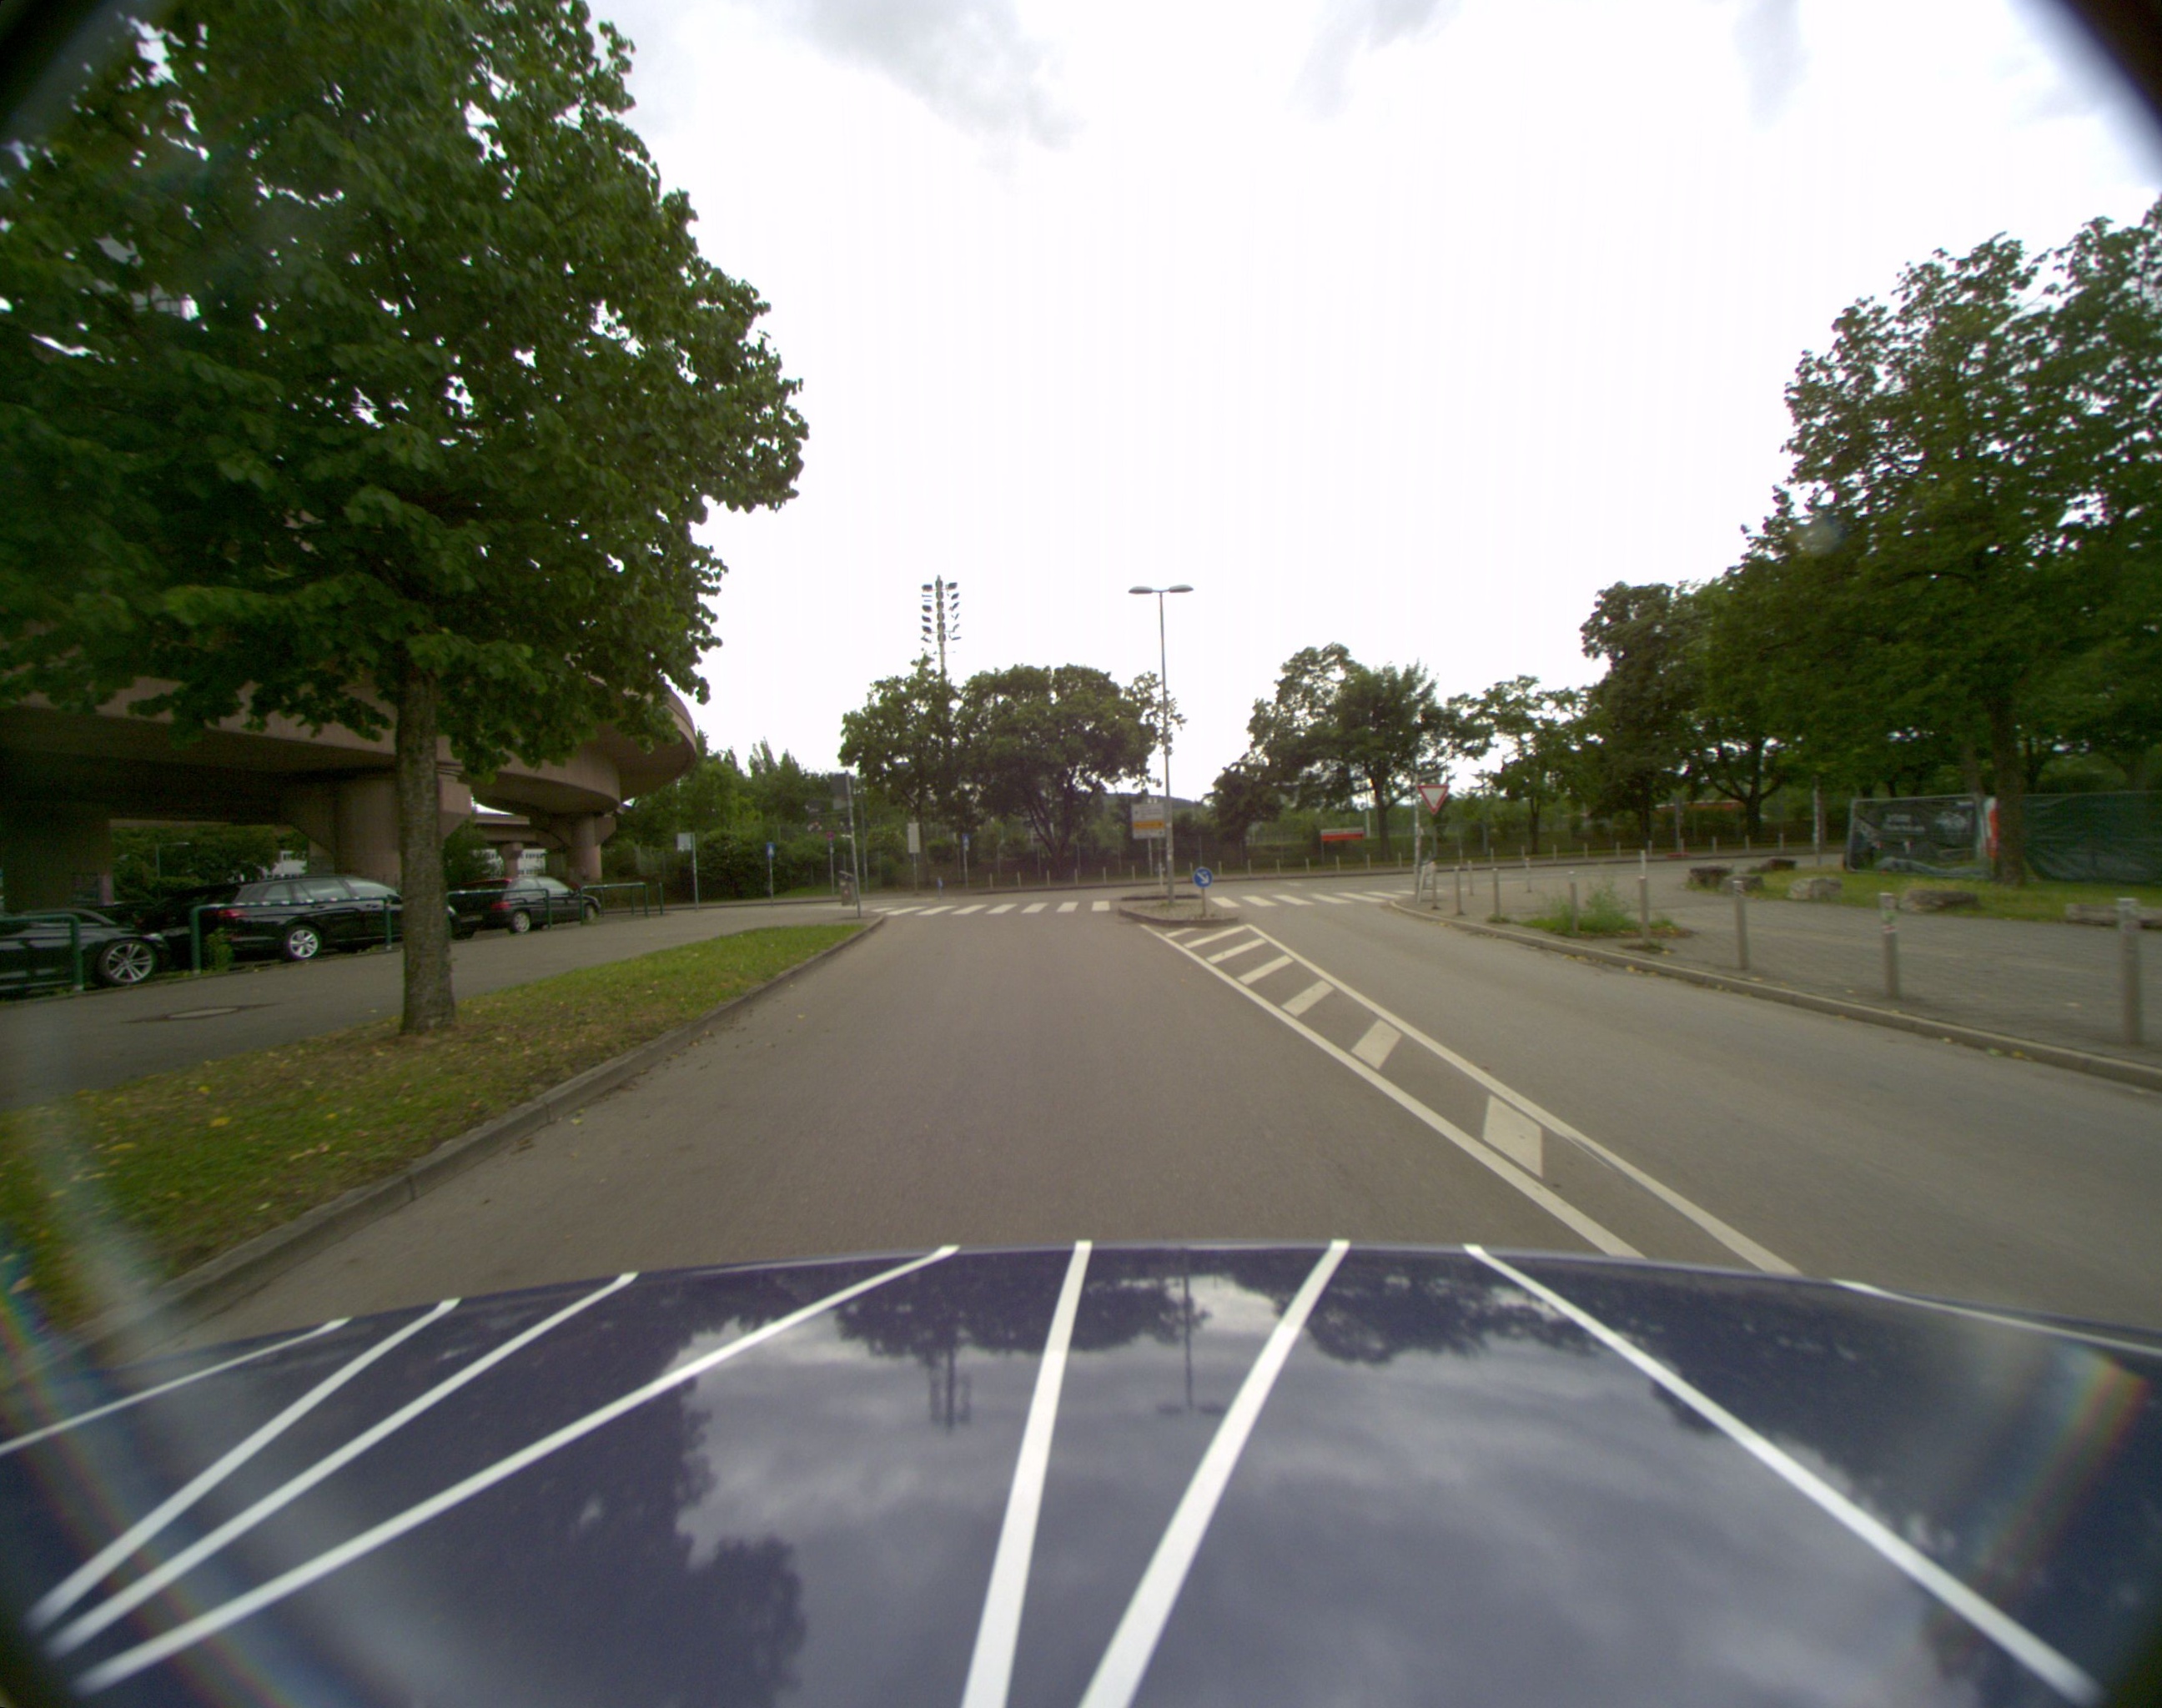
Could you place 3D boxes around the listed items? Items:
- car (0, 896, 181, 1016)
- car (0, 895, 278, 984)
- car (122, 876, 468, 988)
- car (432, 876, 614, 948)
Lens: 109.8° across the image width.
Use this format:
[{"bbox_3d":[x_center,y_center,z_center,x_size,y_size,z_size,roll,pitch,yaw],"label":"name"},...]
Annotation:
[{"bbox_3d":[-13.458,1.277,8.378,1.771,1.314,4.374,-4,0,0],"label":"car"},{"bbox_3d":[-19.891,1.752,16.017,3.860,1.500,1.698,-3,0,-5],"label":"car"},{"bbox_3d":[-13.385,1.219,13.404,1.509,1.412,4.248,-5,0,1],"label":"car"},{"bbox_3d":[-13.472,1.331,18.631,1.509,1.322,3.700,-6,0,2],"label":"car"}]
